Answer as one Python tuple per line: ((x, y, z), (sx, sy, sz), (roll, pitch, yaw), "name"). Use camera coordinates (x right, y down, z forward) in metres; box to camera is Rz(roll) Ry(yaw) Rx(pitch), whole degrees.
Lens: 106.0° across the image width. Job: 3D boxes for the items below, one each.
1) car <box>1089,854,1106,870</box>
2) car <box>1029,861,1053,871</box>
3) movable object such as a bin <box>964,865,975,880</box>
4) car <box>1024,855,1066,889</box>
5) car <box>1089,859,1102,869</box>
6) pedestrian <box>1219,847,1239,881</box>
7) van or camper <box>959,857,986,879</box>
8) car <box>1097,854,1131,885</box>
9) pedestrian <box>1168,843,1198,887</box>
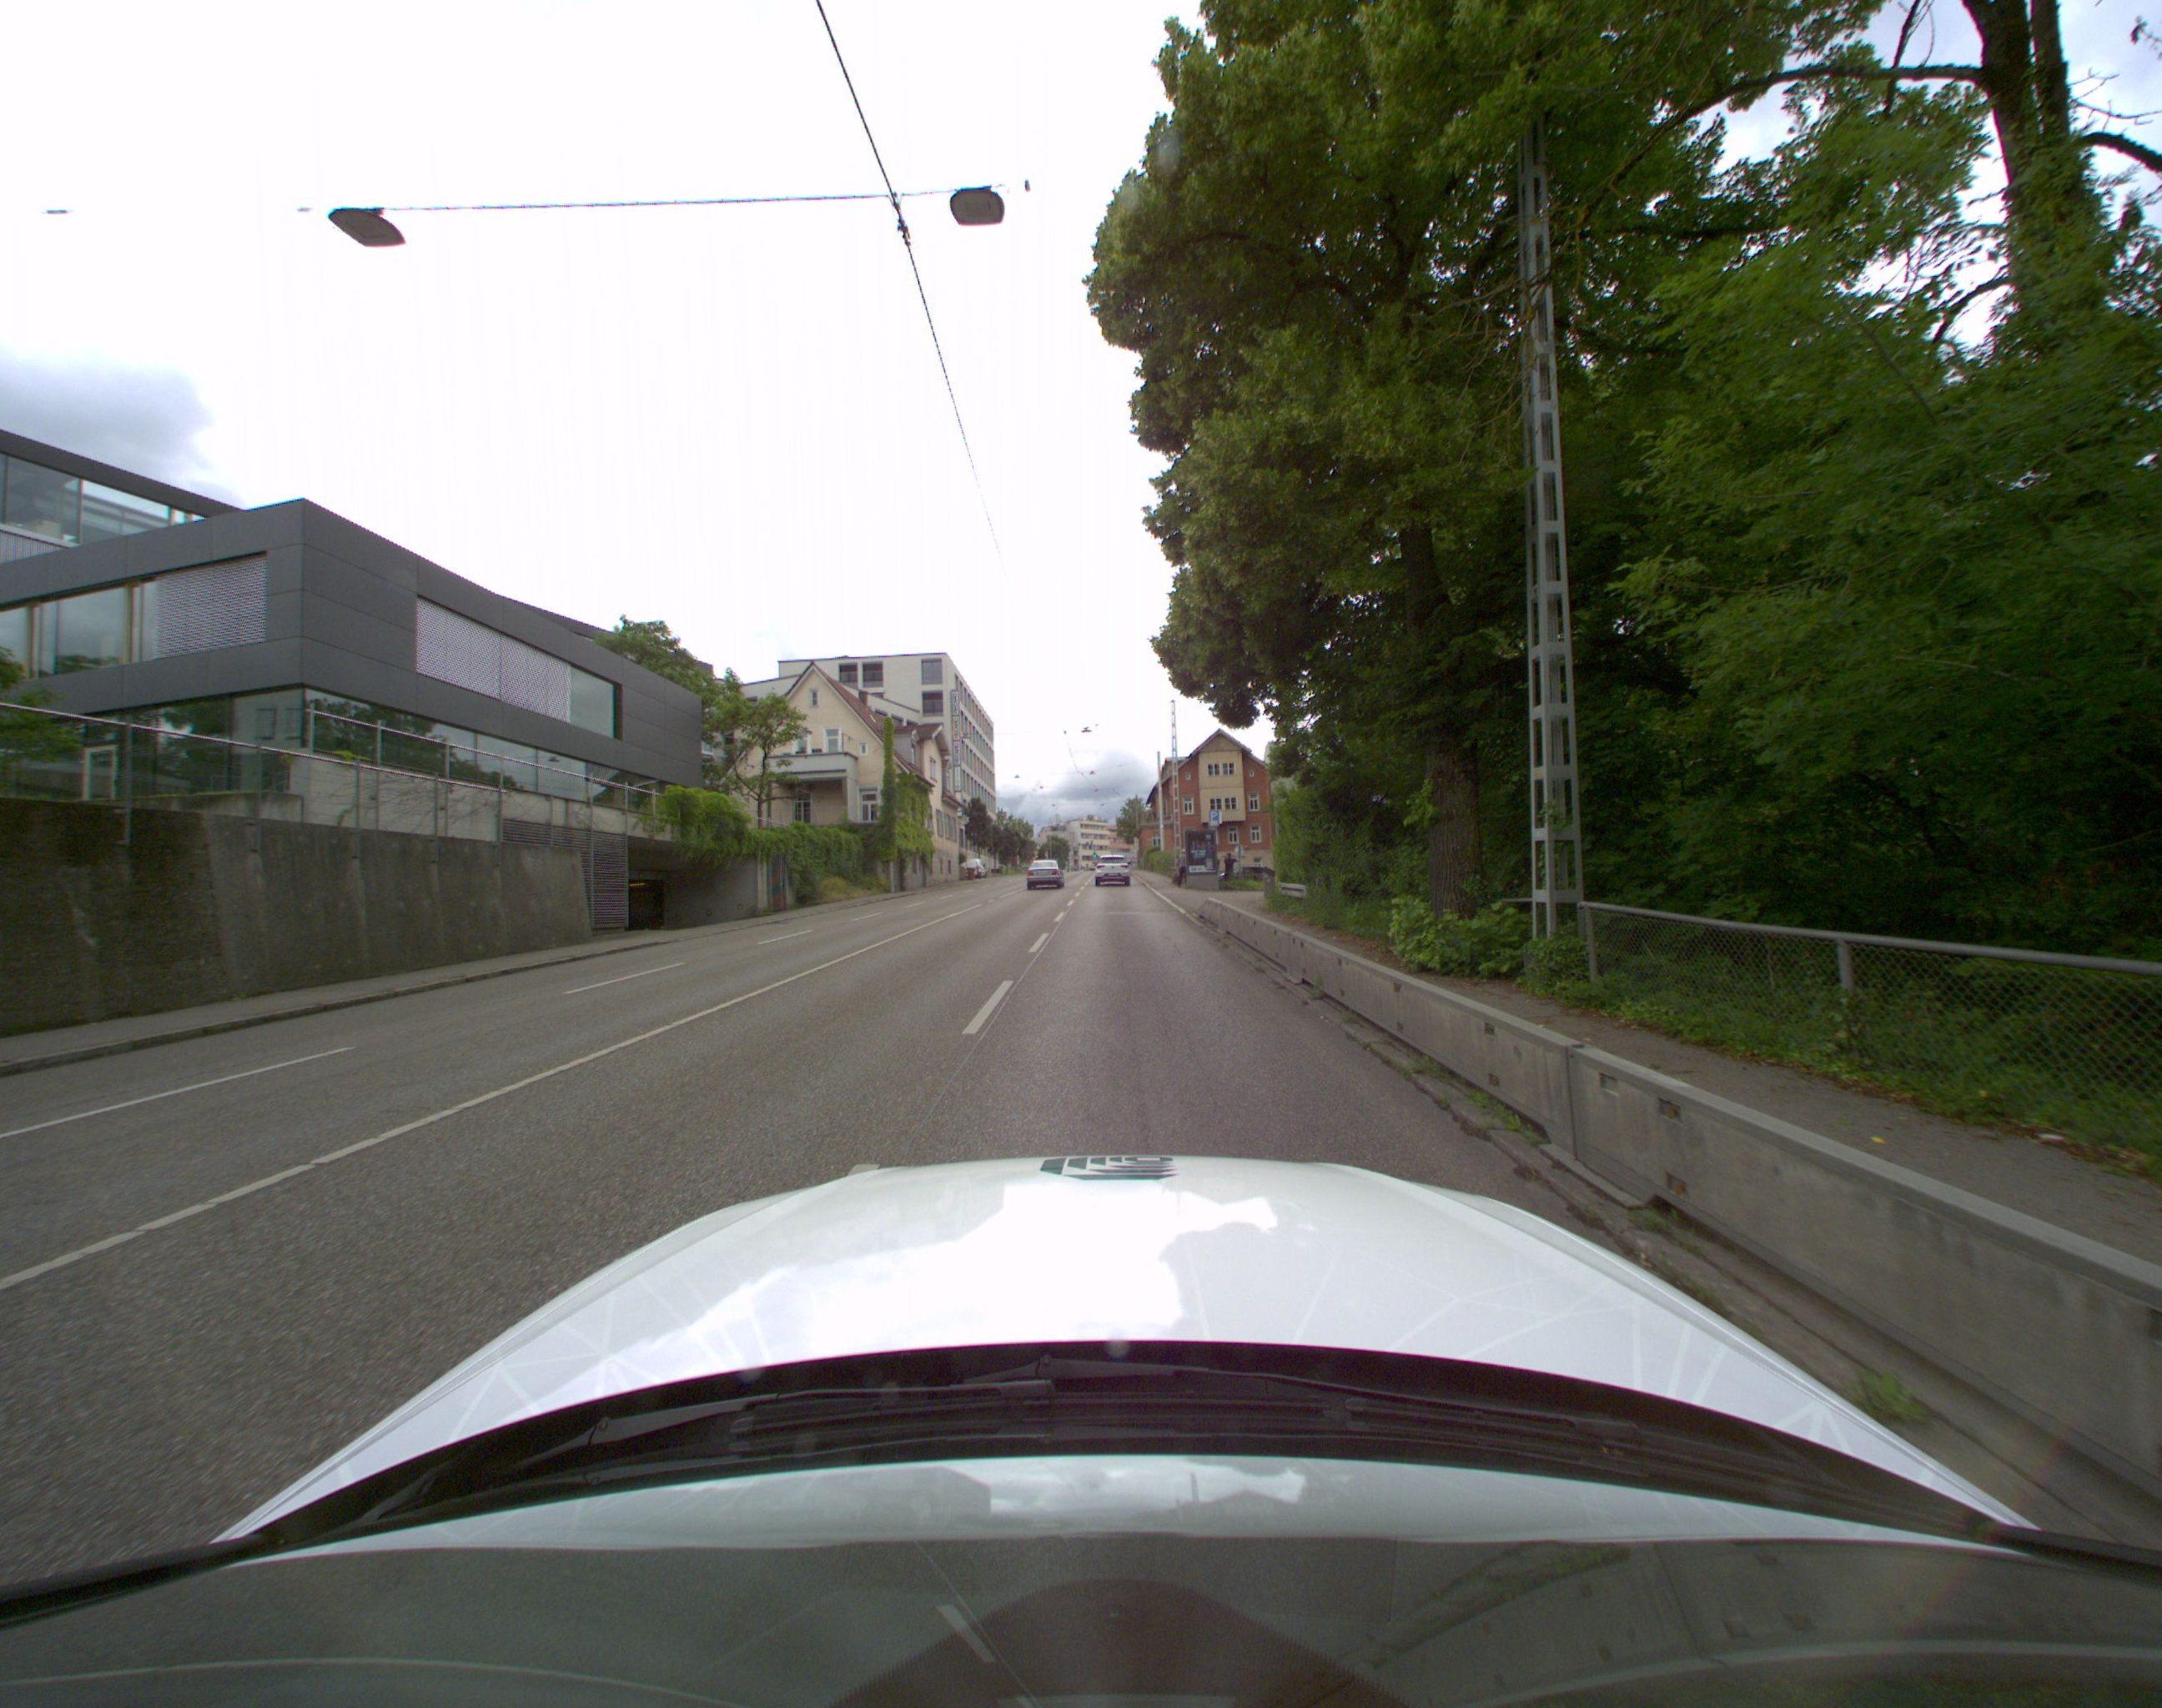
((1.938, 0.869, 92.856), (1.823, 1.651, 4.002), (-2, 0, 2), "car")
((-6.916, 2.124, 141.552), (4.023, 1.544, 1.759), (0, -2, -44), "car")
((-9.208, 1.504, 67.205), (0.808, 1.189, 0.697), (2, -1, -4), "movable object such as a bin")
((-1.715, 0.847, 39.713), (1.693, 1.516, 3.737), (-2, 0, 2), "car")
((2.126, 1.479, 120.653), (1.823, 1.464, 4.002), (-2, 0, 2), "car")
((7.169, 0.482, 39.362), (0.588, 1.571, 0.640), (-3, 0, -35), "pedestrian")
((-10.684, 1.356, 80.640), (2.054, 1.968, 4.871), (-2, 0, -1), "van or camper")
((1.690, 0.767, 42.212), (1.693, 1.548, 3.737), (1, 0, 2), "car")
((4.579, 0.501, 36.645), (0.818, 1.884, 0.938), (-3, 0, -34), "pedestrian")
